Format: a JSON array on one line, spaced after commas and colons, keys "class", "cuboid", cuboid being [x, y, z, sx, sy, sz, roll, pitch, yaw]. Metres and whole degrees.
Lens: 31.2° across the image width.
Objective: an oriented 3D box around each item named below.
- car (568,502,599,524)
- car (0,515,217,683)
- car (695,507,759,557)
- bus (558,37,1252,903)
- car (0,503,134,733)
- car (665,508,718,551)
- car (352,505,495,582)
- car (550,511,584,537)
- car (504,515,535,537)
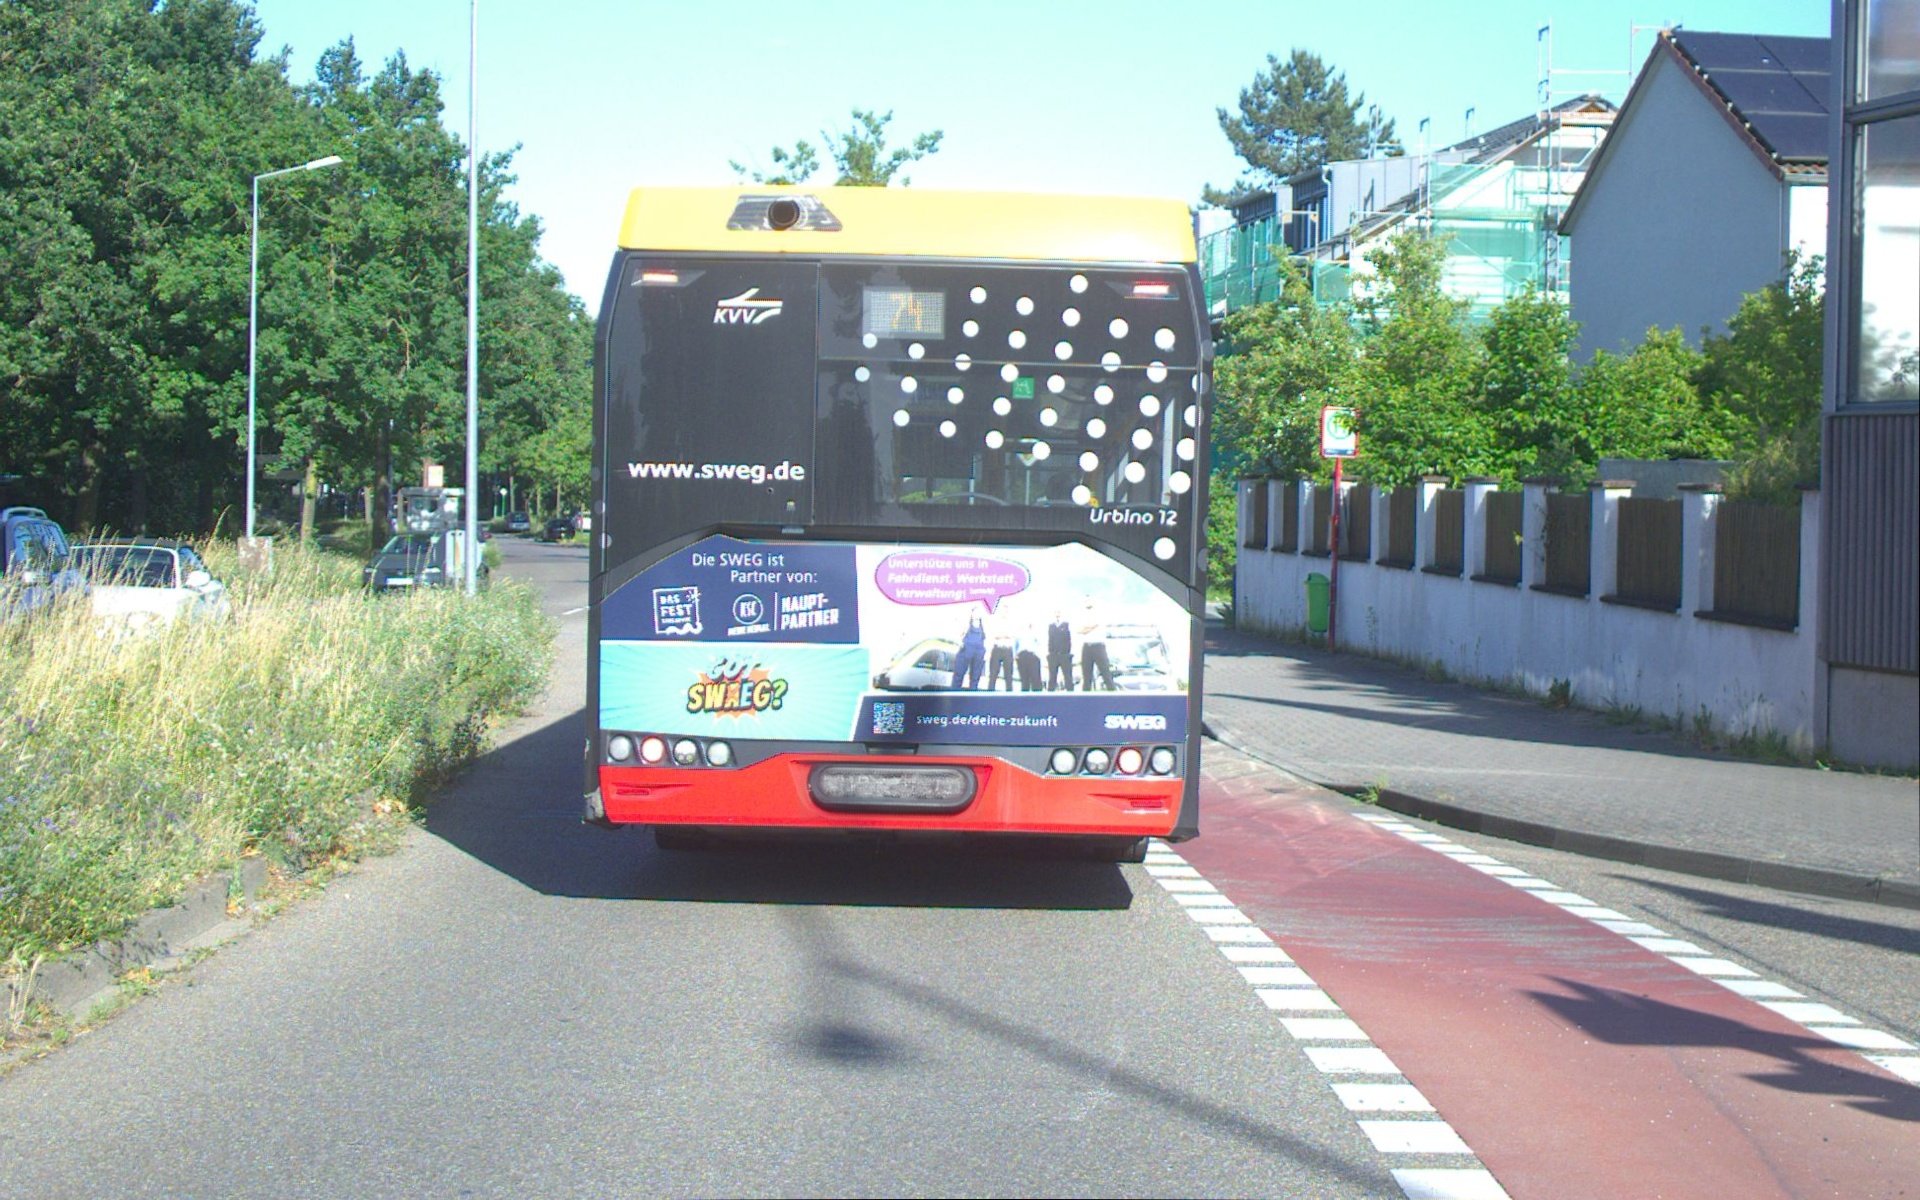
[{"class": "car", "cuboid": [-26.052, -6.022, 237.732, 1.933, 1.449, 4.001, 1, 1, -9]}, {"class": "car", "cuboid": [-8.302, -0.016, 31.903, 1.993, 1.445, 4.399, 1, 0, -2]}, {"class": "car", "cuboid": [-8.258, -2.426, 121.487, 1.935, 1.698, 4.001, 1, 1, -8]}, {"class": "bus", "cuboid": [-0.322, -0.607, 19.937, 2.757, 3.446, 12.399, 0, 1, -1]}, {"class": "car", "cuboid": [-7.910, 0.062, 26.820, 1.993, 1.610, 4.531, 1, 2, -2]}, {"class": "car", "cuboid": [-11.237, -2.955, 143.615, 1.933, 1.736, 4.001, 1, 1, -8]}, {"class": "car", "cuboid": [-10.288, -1.106, 66.182, 1.710, 1.426, 3.999, 0, 1, 7]}, {"class": "car", "cuboid": [-24.209, -4.707, 211.764, 1.933, 1.537, 4.001, 1, 1, -8]}, {"class": "car", "cuboid": [-30.393, -5.141, 237.180, 1.933, 1.449, 4.001, 1, 1, -9]}]
